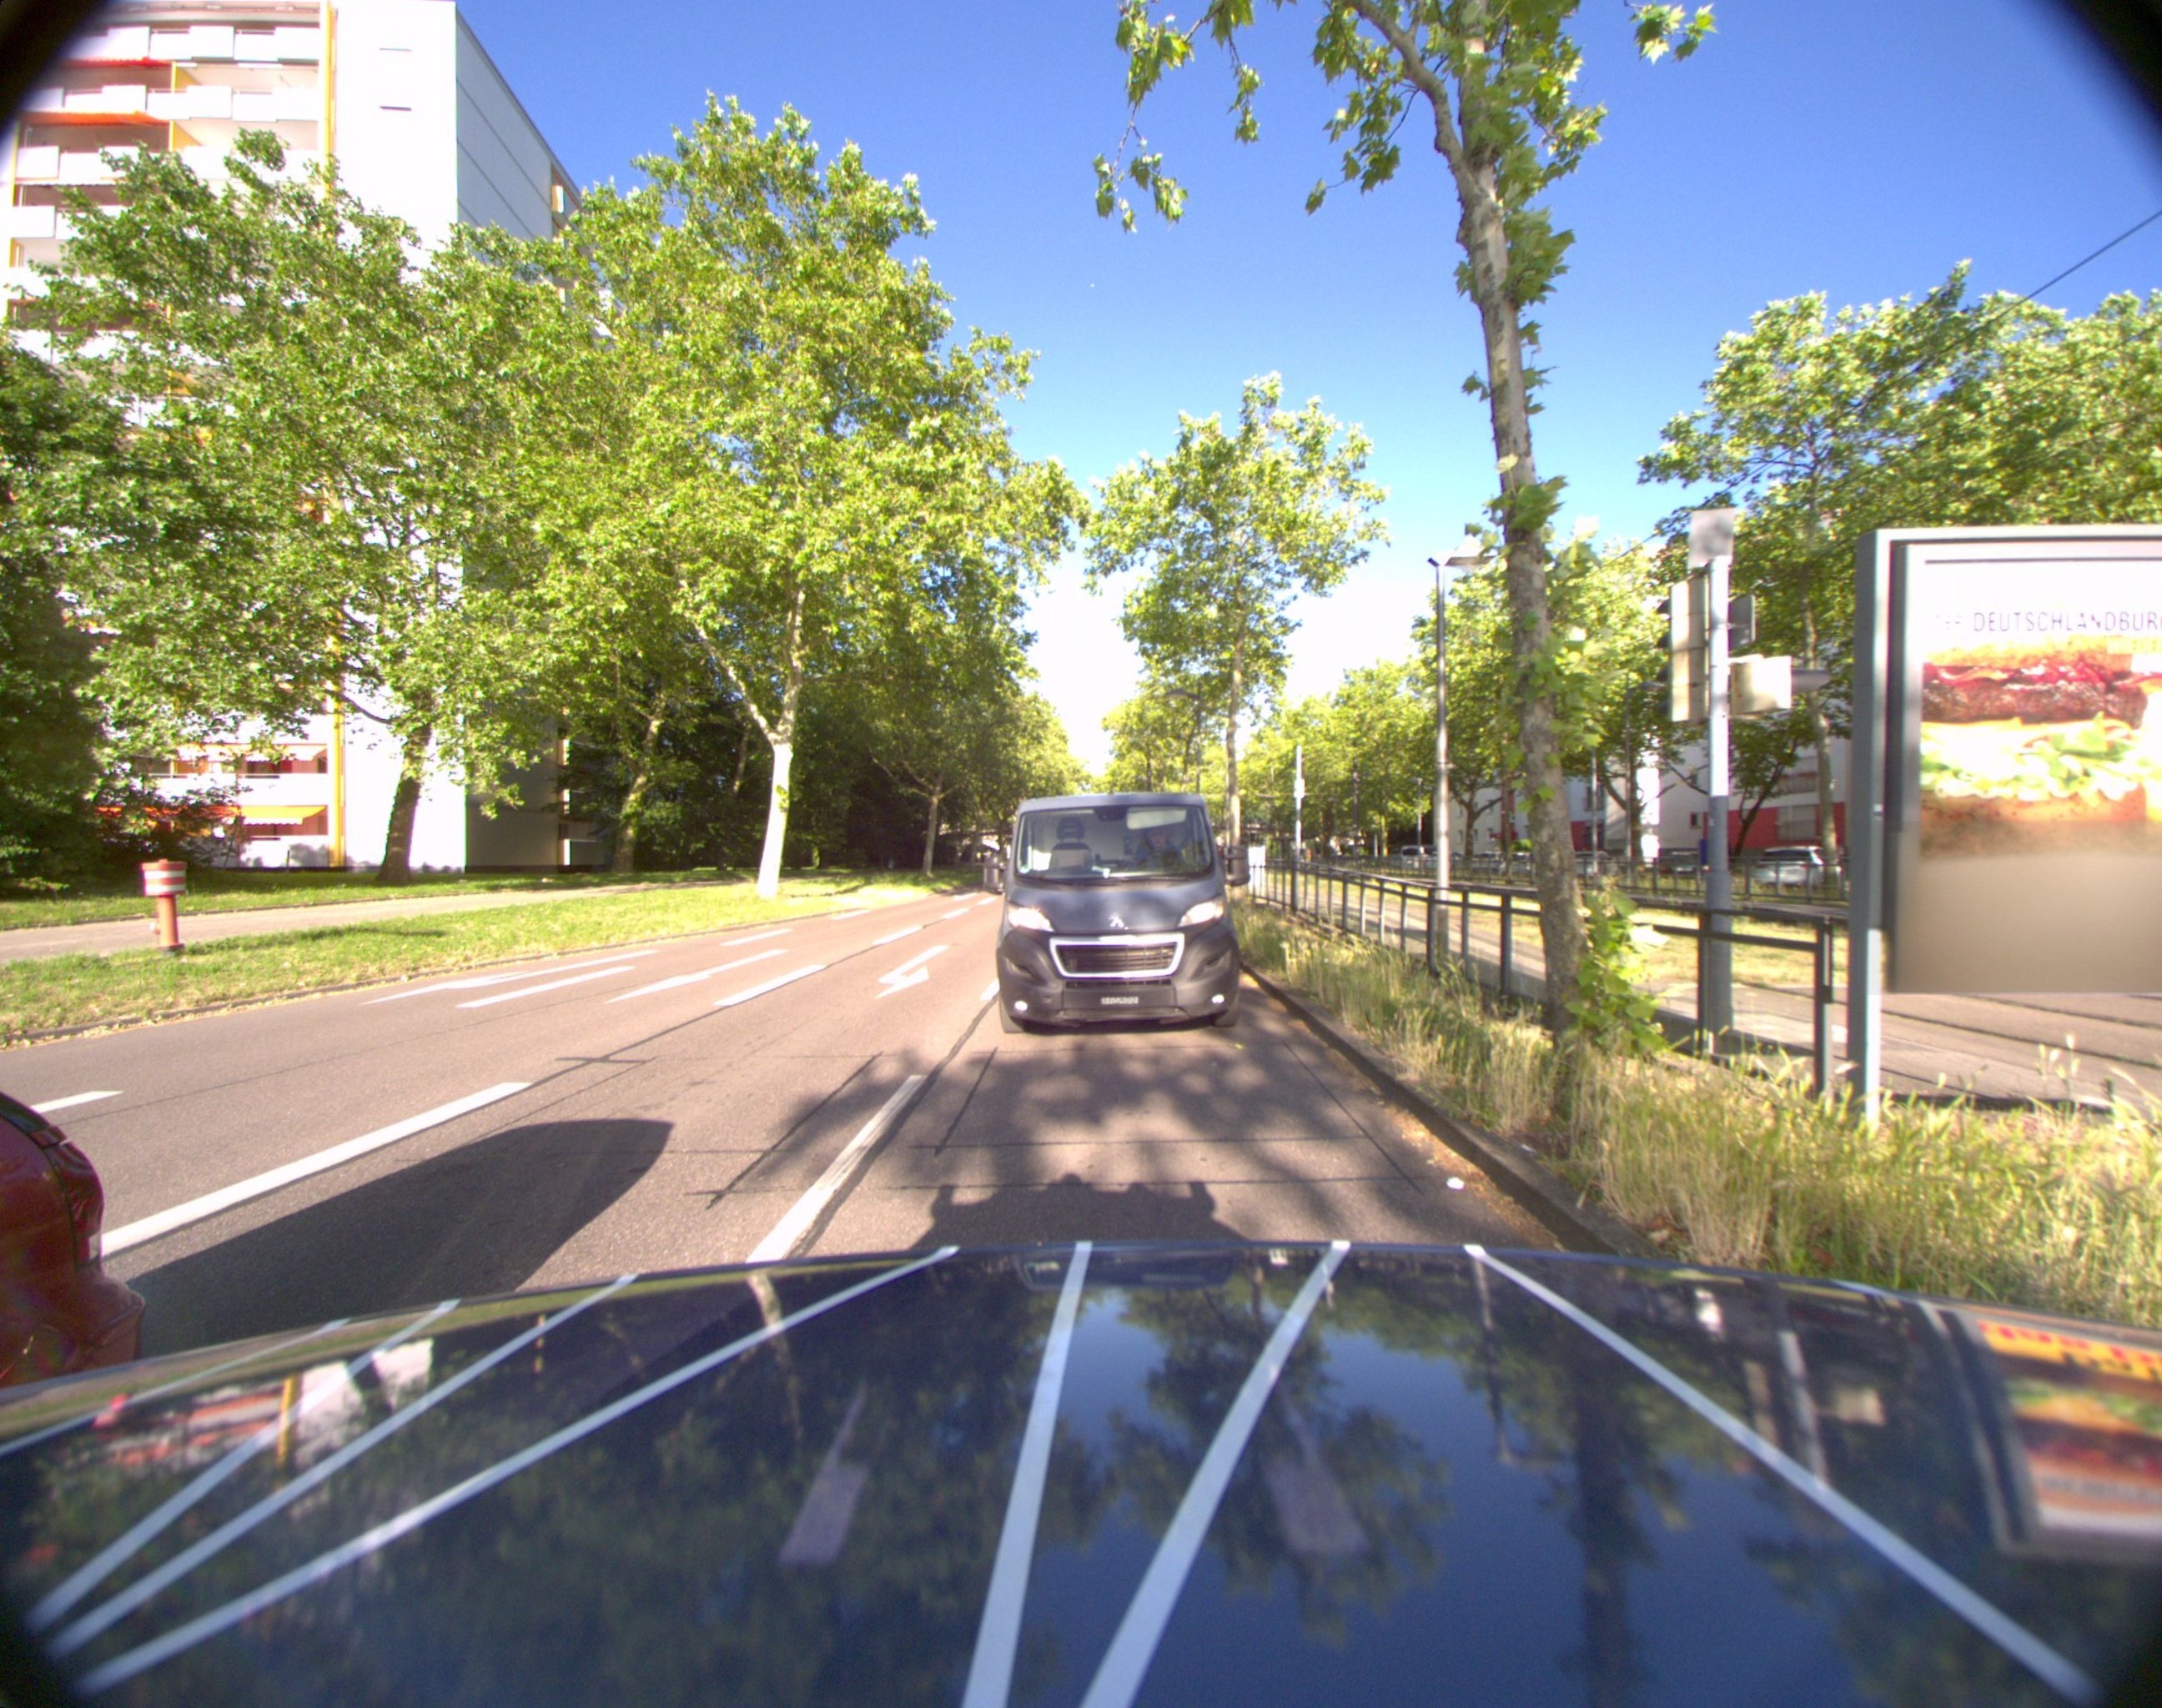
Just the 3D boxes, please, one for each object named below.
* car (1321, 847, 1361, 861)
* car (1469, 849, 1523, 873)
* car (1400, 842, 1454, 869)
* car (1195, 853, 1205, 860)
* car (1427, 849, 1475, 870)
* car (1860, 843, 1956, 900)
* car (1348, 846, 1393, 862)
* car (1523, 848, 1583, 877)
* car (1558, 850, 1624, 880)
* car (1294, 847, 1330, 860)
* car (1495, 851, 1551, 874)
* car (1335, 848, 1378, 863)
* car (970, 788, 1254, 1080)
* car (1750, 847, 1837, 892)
[{"bbox_3d":[27.239,0.035,79.562,4.376,1.367,1.919,-1,1,-39],"label":"car"},{"bbox_3d":[25.952,0.424,47.482,3.689,1.440,1.645,-1,1,-39],"label":"car"},{"bbox_3d":[25.956,0.094,56.979,4.376,1.873,1.919,-1,1,-39],"label":"car"},{"bbox_3d":[25.574,0.566,162.999,1.672,1.351,3.295,-1,0,1],"label":"car"},{"bbox_3d":[26.241,0.357,53.885,3.689,1.388,1.645,-1,1,-39],"label":"car"},{"bbox_3d":[25.012,0.469,22.947,3.689,1.558,1.683,-1,1,-38],"label":"car"},{"bbox_3d":[26.781,0.001,70.326,4.376,1.367,1.919,-1,1,-39],"label":"car"},{"bbox_3d":[25.806,0.438,41.505,3.689,1.440,1.645,-1,1,-39],"label":"car"},{"bbox_3d":[25.325,0.509,37.677,3.689,1.384,1.645,-1,1,-38],"label":"car"},{"bbox_3d":[27.198,-0.049,89.415,4.376,1.367,1.919,-1,1,-39],"label":"car"},{"bbox_3d":[26.195,0.490,44.947,3.689,1.234,1.645,-1,1,-39],"label":"car"},{"bbox_3d":[26.584,0.109,73.265,4.376,1.367,1.919,-1,1,-39],"label":"car"},{"bbox_3d":[0.263,0.573,8.143,2.040,2.102,5.113,-1,0,1],"label":"car"},{"bbox_3d":[25.050,0.502,26.673,3.689,1.425,1.683,-1,1,-38],"label":"car"}]
